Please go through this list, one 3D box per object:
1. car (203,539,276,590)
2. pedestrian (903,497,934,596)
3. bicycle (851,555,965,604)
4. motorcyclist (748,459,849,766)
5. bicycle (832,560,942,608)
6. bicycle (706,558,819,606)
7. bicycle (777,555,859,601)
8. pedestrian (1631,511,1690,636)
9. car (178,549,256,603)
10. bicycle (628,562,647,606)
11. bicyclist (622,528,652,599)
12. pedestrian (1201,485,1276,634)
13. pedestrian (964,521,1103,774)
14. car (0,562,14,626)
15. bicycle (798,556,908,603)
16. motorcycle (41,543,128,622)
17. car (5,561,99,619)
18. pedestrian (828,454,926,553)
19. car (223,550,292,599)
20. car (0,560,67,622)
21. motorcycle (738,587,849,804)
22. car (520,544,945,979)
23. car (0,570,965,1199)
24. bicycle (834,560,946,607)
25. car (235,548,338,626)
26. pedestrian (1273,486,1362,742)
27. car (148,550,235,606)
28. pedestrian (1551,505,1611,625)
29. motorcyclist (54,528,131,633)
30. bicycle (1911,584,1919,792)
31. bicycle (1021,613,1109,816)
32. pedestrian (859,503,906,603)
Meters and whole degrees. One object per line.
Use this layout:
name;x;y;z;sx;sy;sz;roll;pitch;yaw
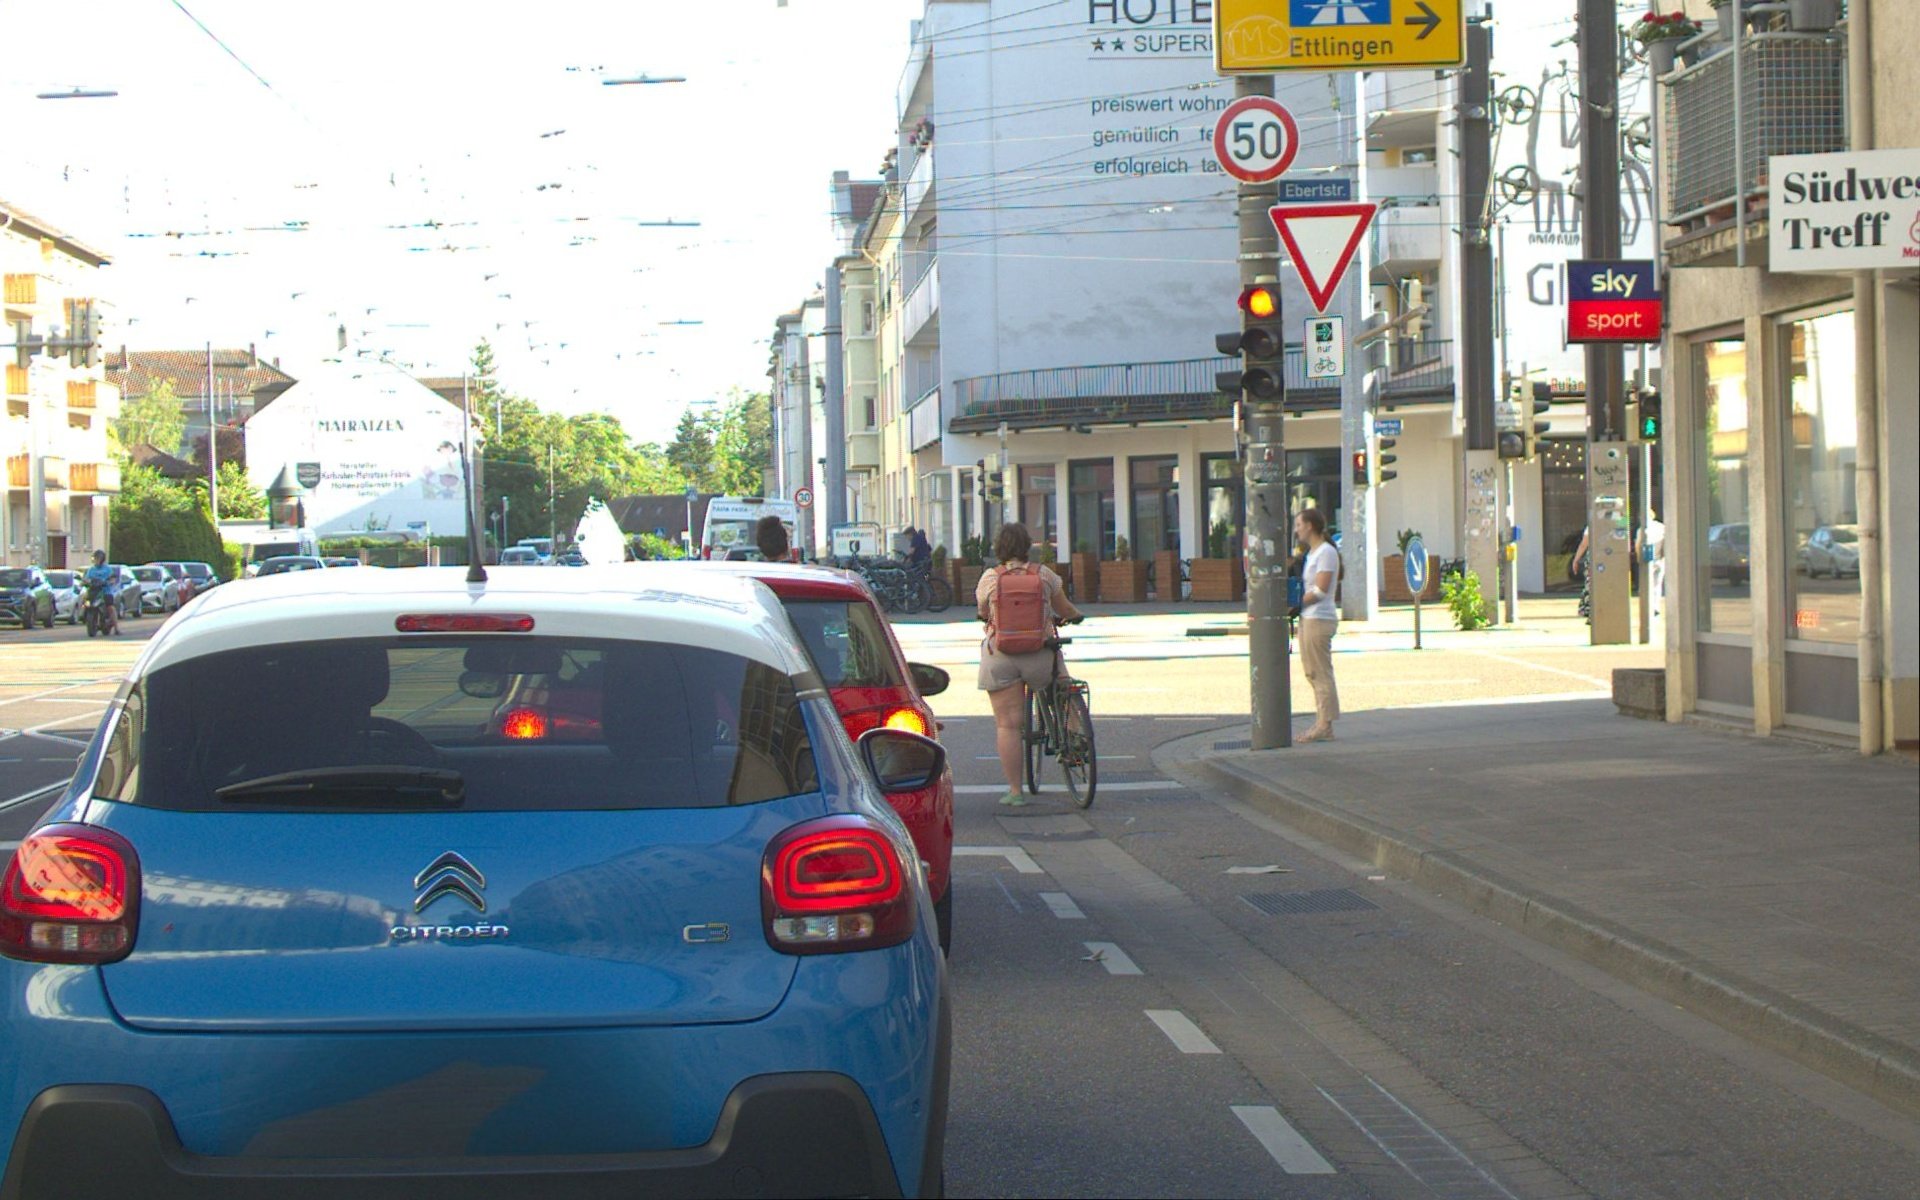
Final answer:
car;-24.423;-1.218;116.625;1.833;1.681;4.001;1;1;-4
pedestrian;-0.850;-1.090;70.229;0.577;2.007;0.626;1;0;-3
bicycle;-1.001;-0.395;65.917;2.132;0.898;0.367;1;0;-9
motorcyclist;-0.914;0.068;19.610;0.526;1.710;0.717;1;0;-1
bicycle;-1.437;-0.317;67.569;2.132;0.898;0.367;1;0;-9
bicycle;-3.811;-0.351;66.215;2.132;0.898;0.367;1;0;-9
bicycle;-2.874;-0.444;69.414;1.785;0.898;0.366;1;1;34
pedestrian;9.419;-0.355;46.224;0.752;1.652;0.883;1;0;11
car;-24.036;-0.786;111.263;1.882;1.681;4.001;1;1;-4
bicycle;-6.739;-0.348;71.777;0.349;0.900;1.860;1;1;-7
bicyclist;-6.758;-0.761;71.891;0.561;1.472;0.748;1;0;-9
pedestrian;3.798;-0.548;46.948;0.926;2.007;0.759;1;0;-1
pedestrian;0.424;0.271;20.252;0.777;1.455;0.682;1;0;-1
car;-23.260;-0.138;79.370;1.787;1.506;4.150;1;1;-2
bicycle;-2.130;-0.410;68.304;2.132;0.898;0.367;1;0;-9
motorcycle;-16.944;-0.350;66.634;0.923;1.481;3.726;1;1;-3
car;-24.291;-0.281;92.071;1.732;1.493;4.001;1;1;-5
pedestrian;-1.749;-2.037;73.521;1.993;2.007;4.000;1;1;-1
car;-24.770;-0.898;121.323;1.846;1.681;3.875;1;1;-4
car;-23.641;-0.237;86.026;1.785;1.493;4.001;1;1;-4
motorcycle;-0.922;0.503;19.427;0.526;1.136;2.290;1;1;-1
car;-0.795;0.541;13.239;1.424;1.462;2.924;-1;0;-1
car;-0.849;0.672;7.157;1.654;1.439;3.523;1;1;-1
bicycle;-1.364;-0.327;67.113;2.132;0.898;0.367;1;0;-9
car;-14.948;-0.309;76.431;1.774;1.660;3.857;1;1;-4
pedestrian;2.522;0.095;24.303;0.517;1.777;0.595;1;0;-2
car;-23.699;-0.695;106.141;1.983;1.681;4.001;1;1;-3
pedestrian;8.380;-0.477;46.389;0.736;1.595;0.748;1;0;13
motorcyclist;-16.921;-0.388;67.071;1.185;2.007;1.276;-1;1;-3
bicycle;4.897;0.434;15.815;0.542;0.995;1.706;1;1;-1
bicycle;0.615;0.655;20.532;0.427;1.119;1.998;1;1;-1
pedestrian;-1.561;-0.944;69.180;0.630;2.007;0.724;1;0;-36
